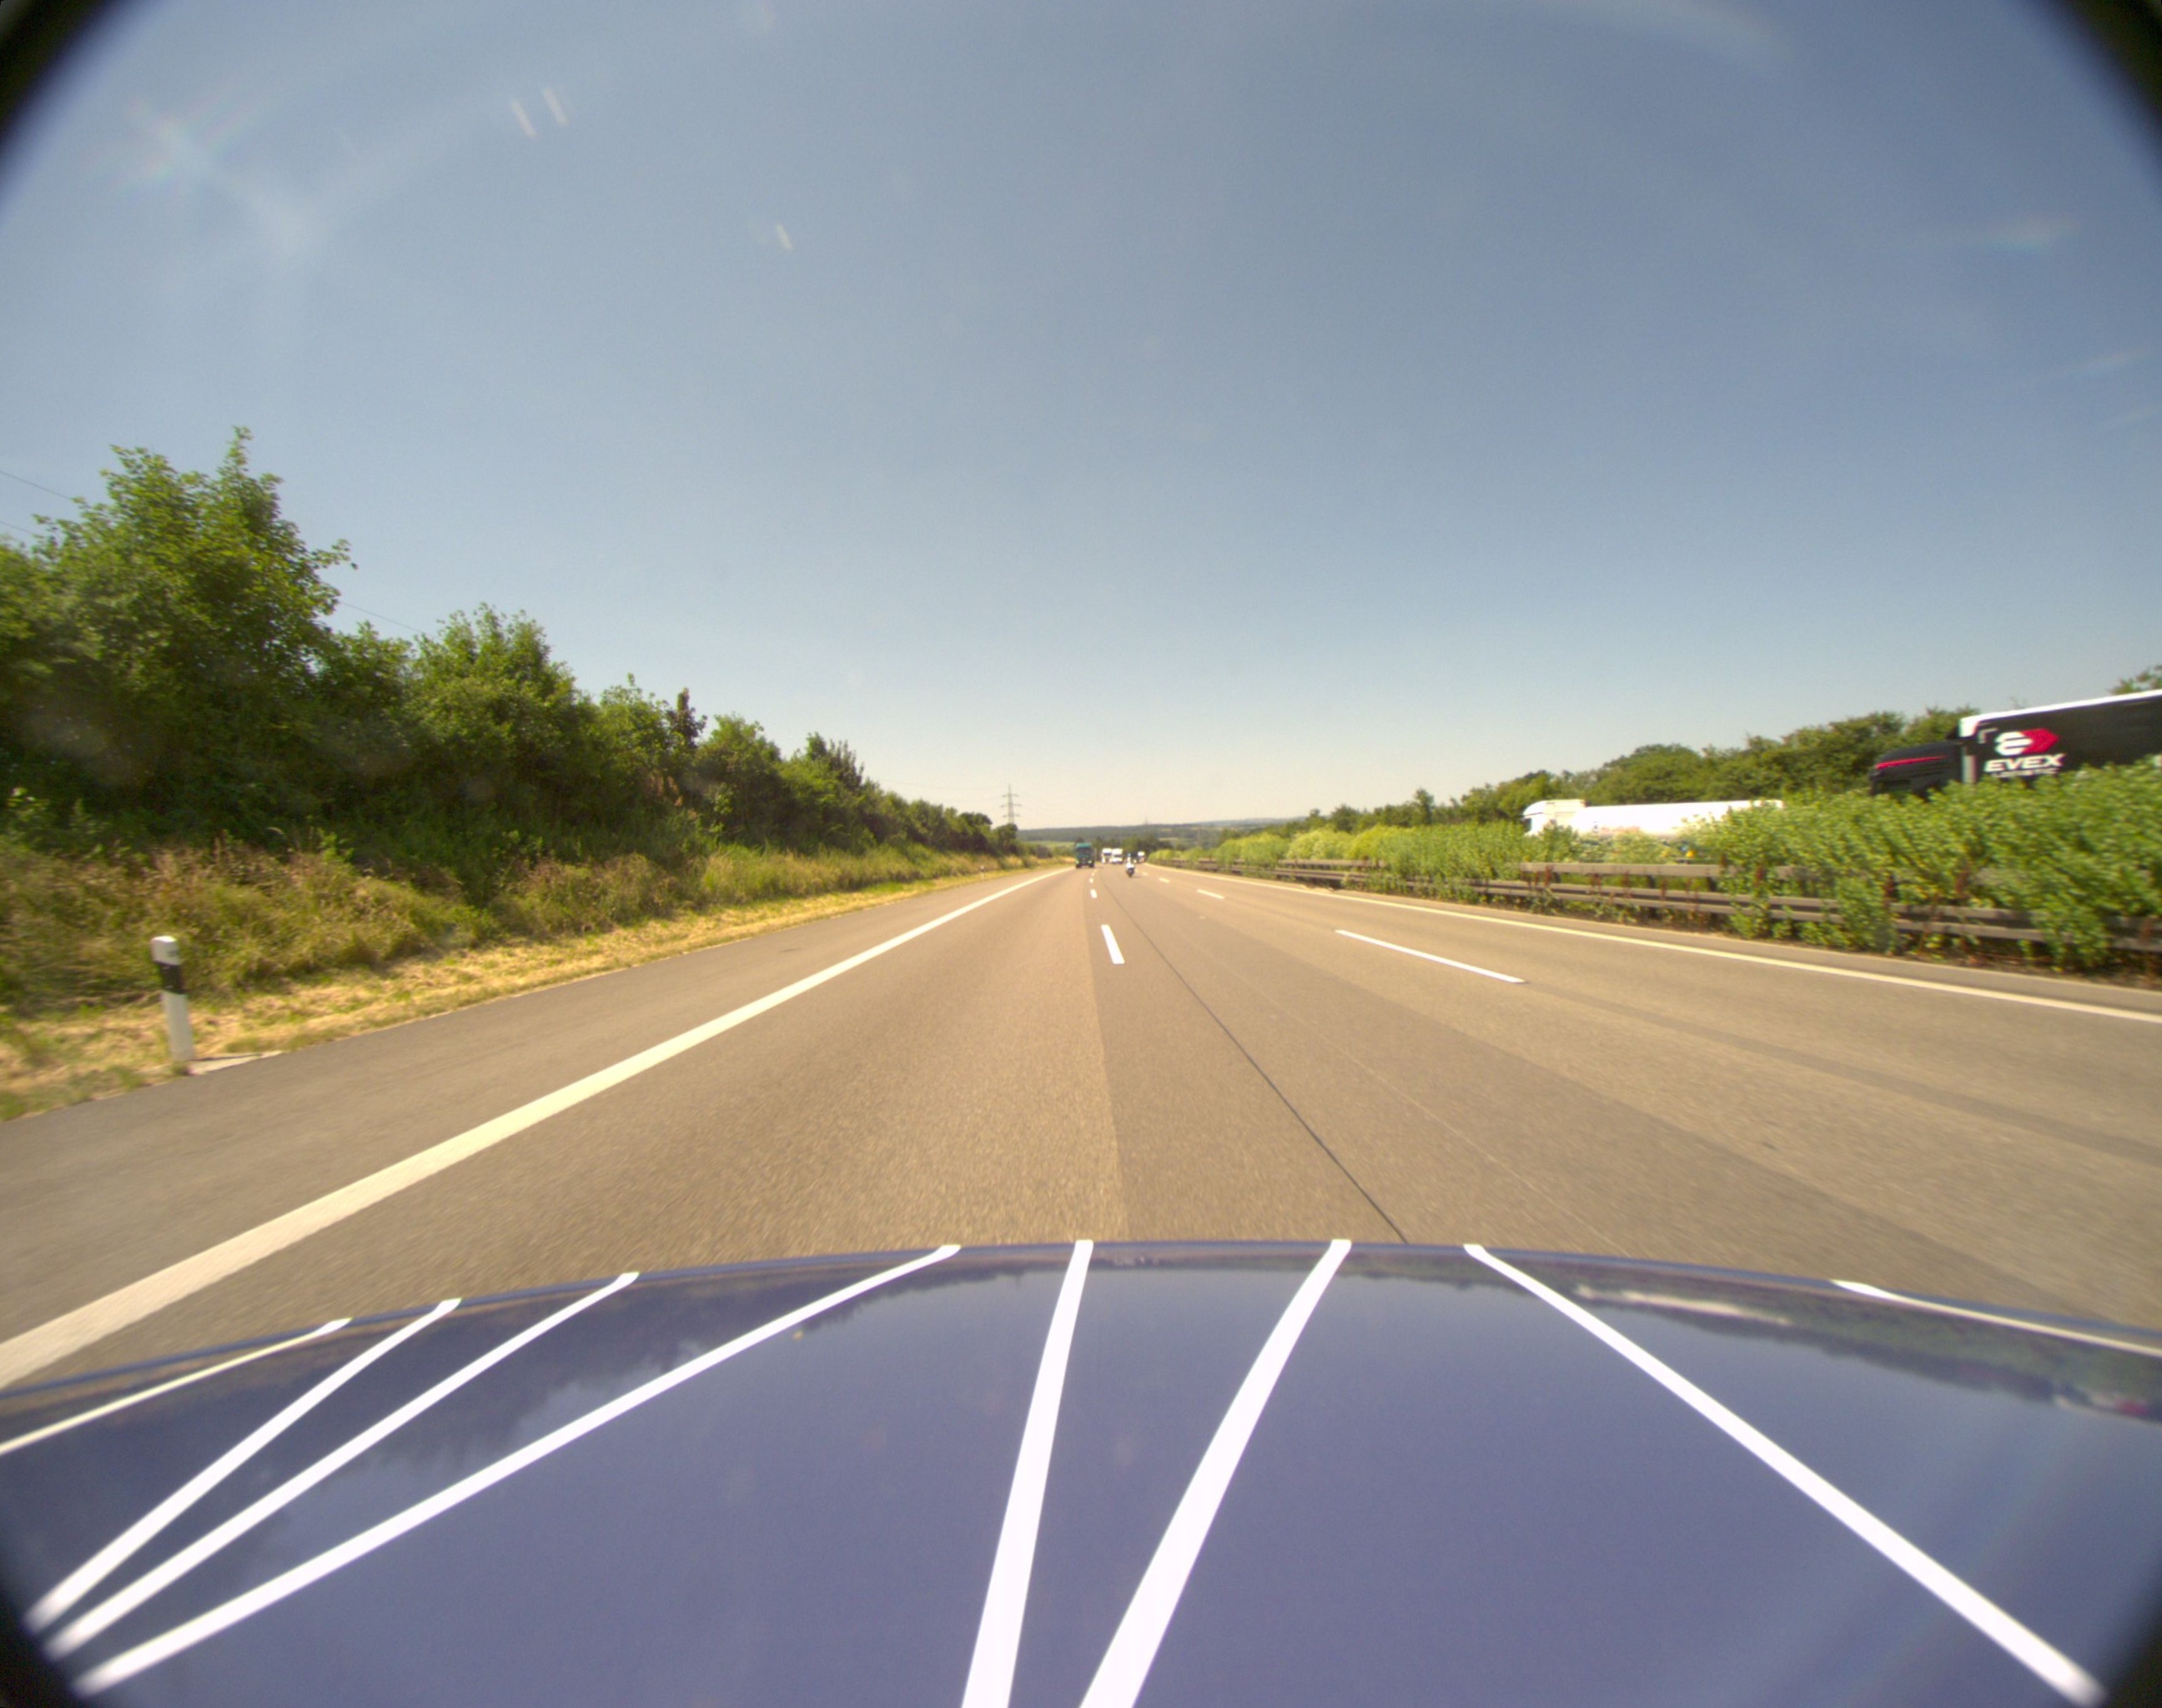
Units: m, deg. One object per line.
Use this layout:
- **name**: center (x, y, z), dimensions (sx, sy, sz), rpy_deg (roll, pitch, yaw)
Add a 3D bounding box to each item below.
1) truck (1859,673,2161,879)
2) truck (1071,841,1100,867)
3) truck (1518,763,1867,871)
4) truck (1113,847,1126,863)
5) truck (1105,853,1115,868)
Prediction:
- **truck**: center (20.568, -1.480, 8.994), dimensions (3.238, 3.590, 18.528), rpy_deg (-4, 0, -1)
- **truck**: center (0.828, -0.031, 114.804), dimensions (2.871, 3.702, 12.769), rpy_deg (-1, 0, 7)
- **truck**: center (23.840, -1.162, 31.698), dimensions (2.465, 3.436, 14.686), rpy_deg (-1, 0, -1)
- **truck**: center (8.352, 0.218, 164.902), dimensions (2.513, 3.268, 8.107), rpy_deg (-1, 0, 0)
- **truck**: center (8.208, 1.763, 213.424), dimensions (2.567, 4.129, 6.250), rpy_deg (-1, 0, 3)
